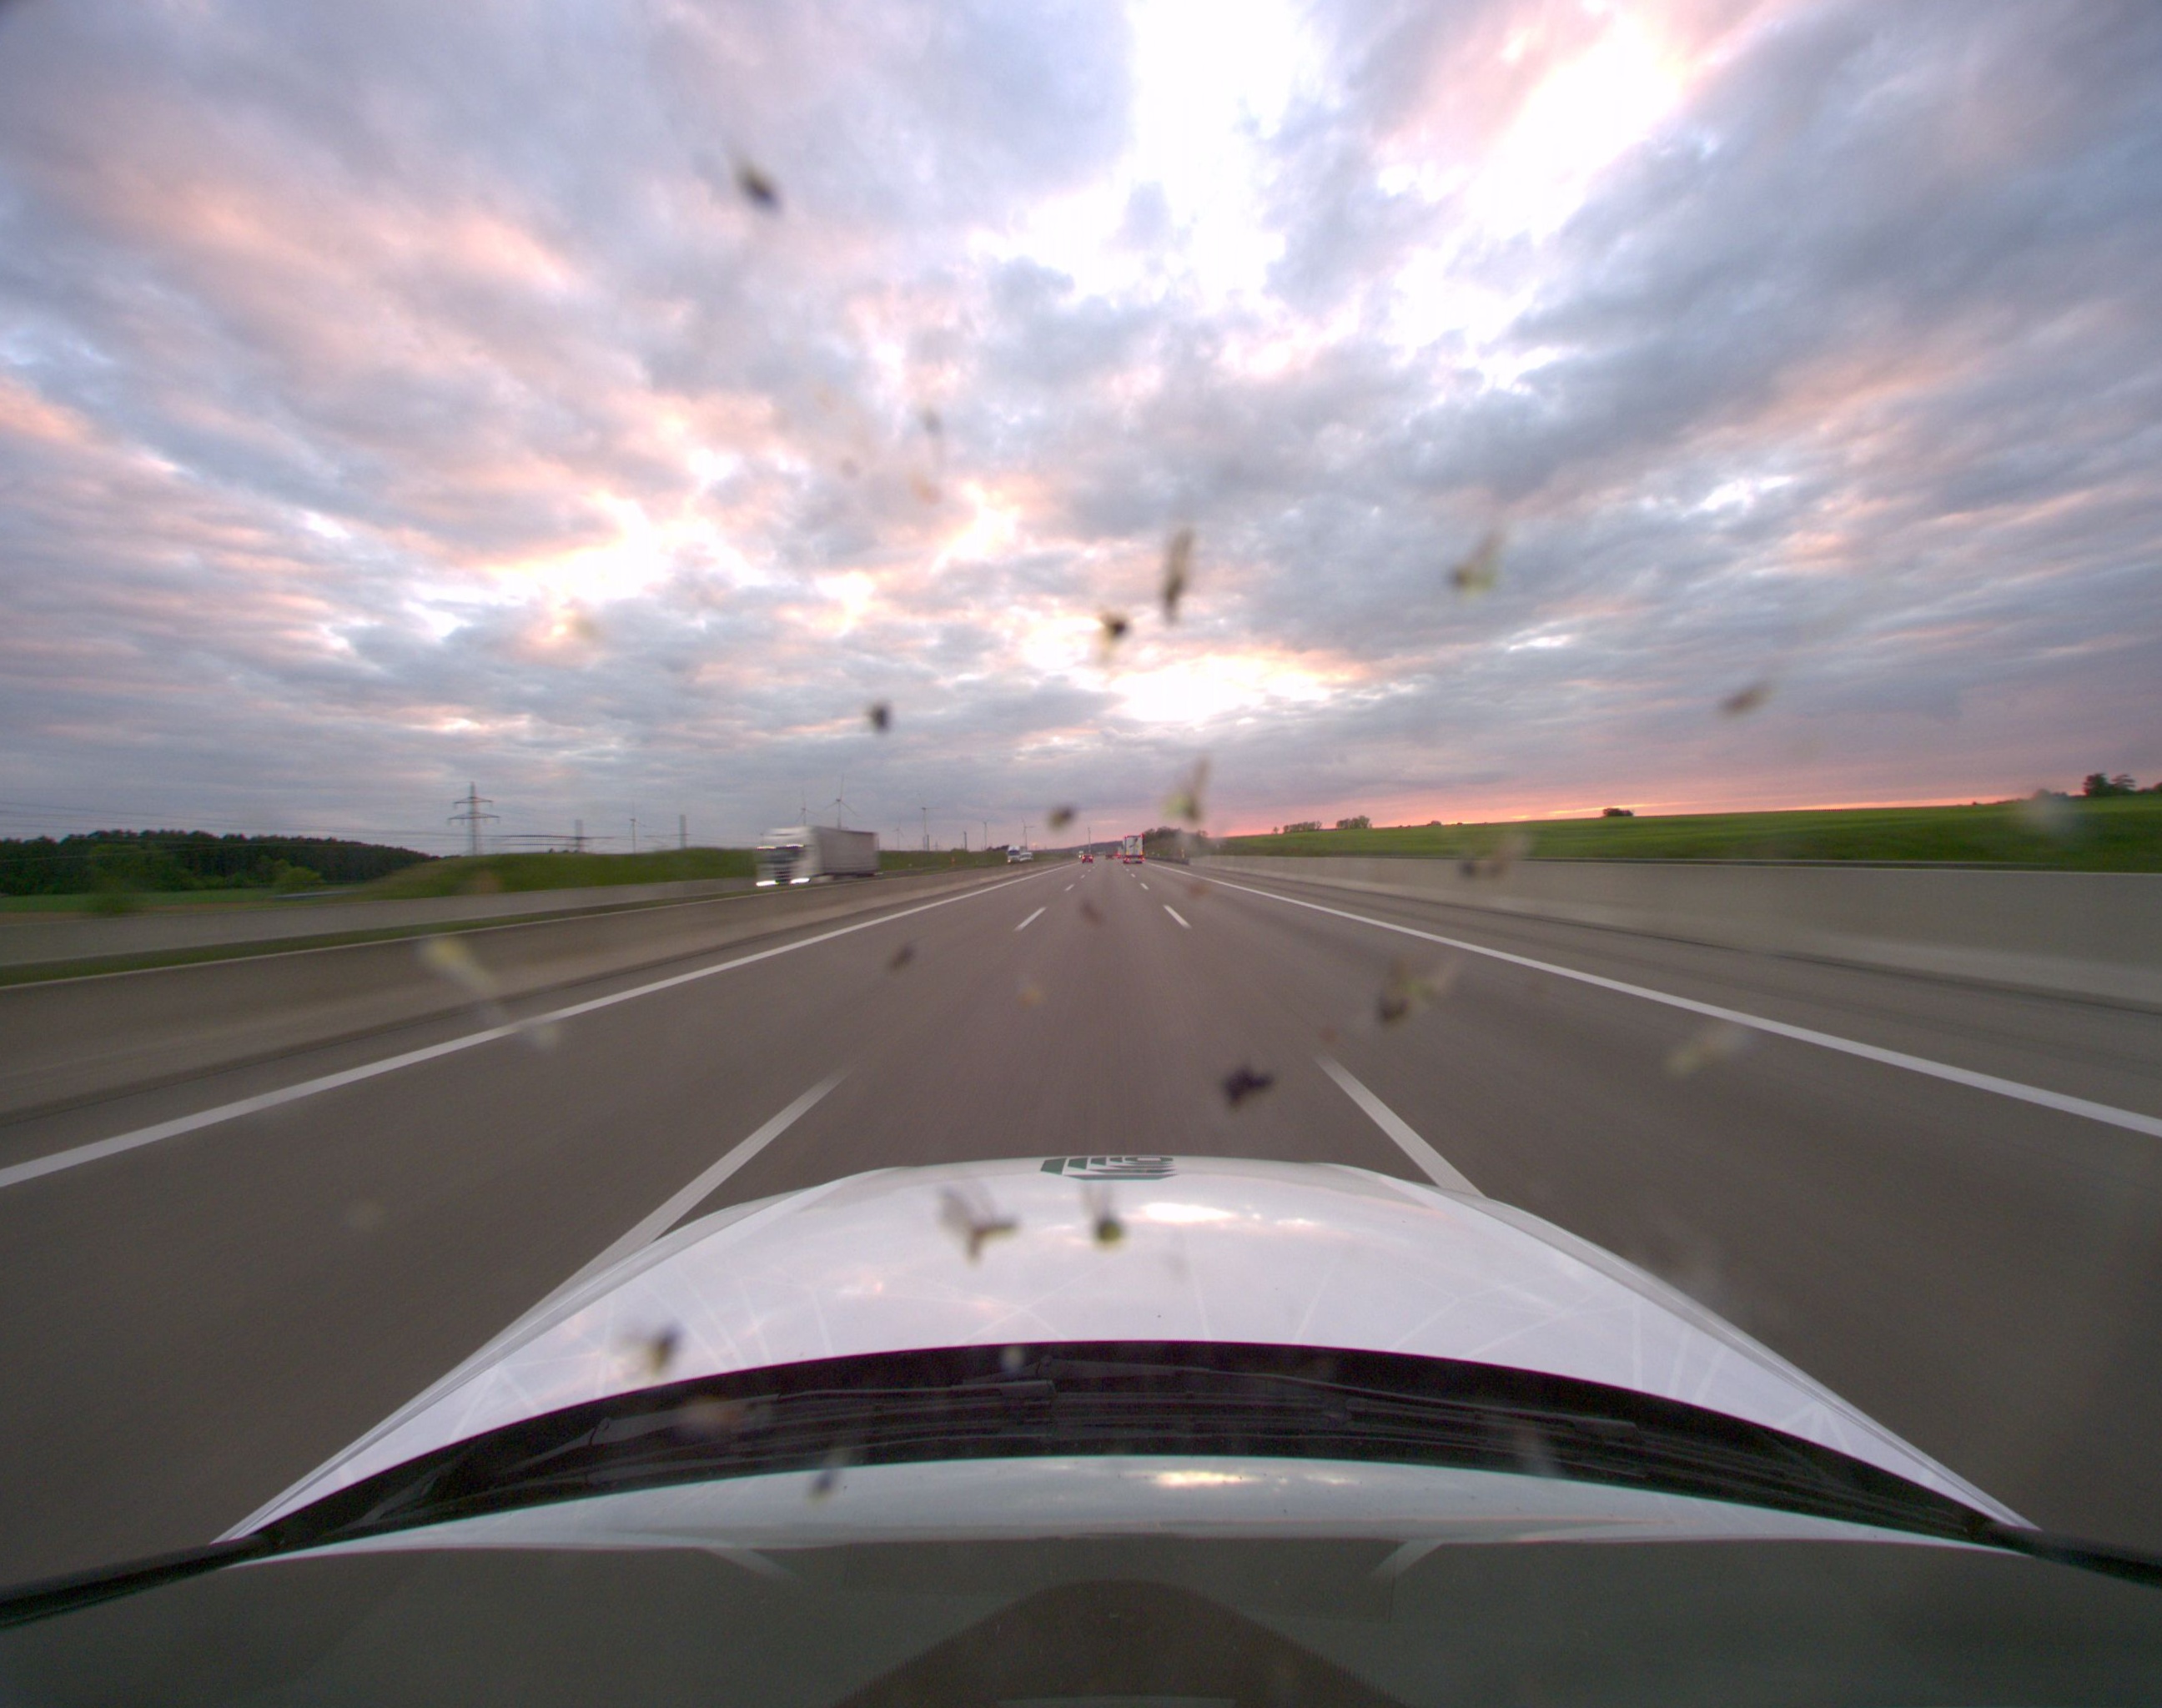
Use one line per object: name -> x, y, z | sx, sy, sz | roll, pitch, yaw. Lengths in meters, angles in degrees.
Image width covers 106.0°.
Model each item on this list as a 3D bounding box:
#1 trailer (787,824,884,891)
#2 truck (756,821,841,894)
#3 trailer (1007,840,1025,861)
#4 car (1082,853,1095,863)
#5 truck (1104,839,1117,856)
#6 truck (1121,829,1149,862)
trailer -> -17.658, 0.181, 59.831 | 2.807, 4.352, 12.844 | -1, 0, 2
truck -> -17.915, 0.197, 52.104 | 2.807, 4.352, 6.741 | -1, 0, 2
trailer -> -13.569, -0.732, 171.531 | 2.676, 4.114, 6.943 | -4, 0, 2
car -> 1.210, 0.626, 133.206 | 1.980, 1.429, 4.002 | -3, 1, 2
truck -> 8.382, -1.820, 231.348 | 3.634, 4.414, 8.639 | -3, 0, 2
truck -> 7.929, -1.210, 120.392 | 3.661, 4.564, 10.987 | -3, 0, 2
